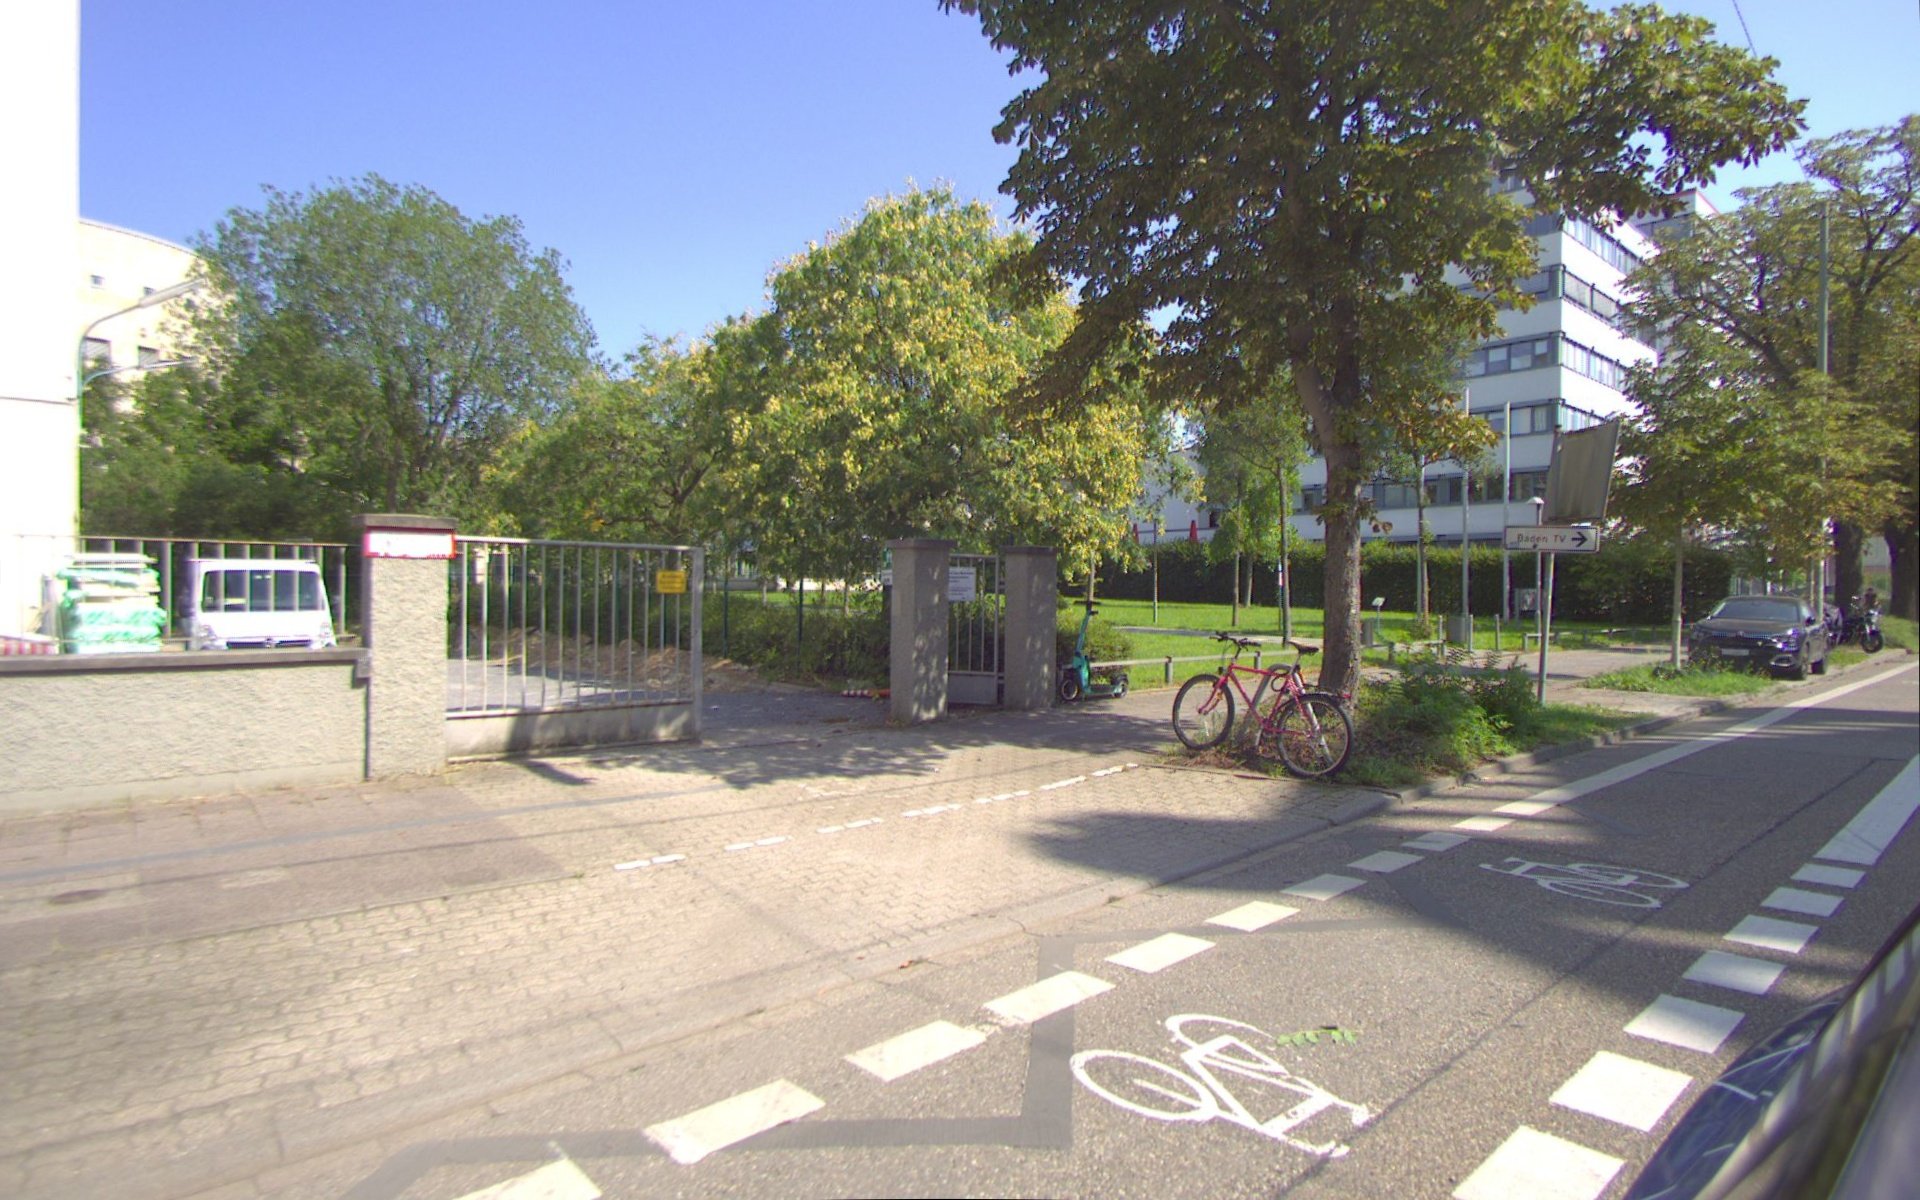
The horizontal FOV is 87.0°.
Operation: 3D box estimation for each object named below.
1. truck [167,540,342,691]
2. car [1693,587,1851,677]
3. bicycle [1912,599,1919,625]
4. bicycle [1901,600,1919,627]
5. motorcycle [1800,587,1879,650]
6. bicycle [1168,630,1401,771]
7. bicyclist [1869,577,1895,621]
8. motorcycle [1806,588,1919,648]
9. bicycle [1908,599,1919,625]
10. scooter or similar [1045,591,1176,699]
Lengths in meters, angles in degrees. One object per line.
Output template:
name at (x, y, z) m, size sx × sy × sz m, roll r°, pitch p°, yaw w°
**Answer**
truck at (-13.100, 0.219, 18.607) m, size 2.257 × 2.355 × 5.519 m, roll 0°, pitch 0°, yaw -39°
car at (16.078, 0.536, 19.947) m, size 4.531 × 1.534 × 1.758 m, roll -1°, pitch 2°, yaw -43°
bicycle at (41.176, 0.530, 42.445) m, size 0.531 × 1.063 × 1.774 m, roll 0°, pitch 1°, yaw -41°
bicycle at (38.837, 0.546, 40.408) m, size 0.531 × 1.063 × 1.774 m, roll 0°, pitch 1°, yaw -41°
motorcycle at (22.522, 0.452, 25.967) m, size 0.843 × 1.535 × 2.435 m, roll 0°, pitch 0°, yaw 24°
bicycle at (2.605, 0.763, 8.306) m, size 0.548 × 0.970 × 1.815 m, roll 0°, pitch 0°, yaw -41°
bicyclist at (43.534, -0.069, 47.803) m, size 1.252 × 2.039 × 0.782 m, roll 0°, pitch 0°, yaw -42°
motorcycle at (23.946, 0.444, 26.870) m, size 0.836 × 1.535 × 2.456 m, roll 0°, pitch 0°, yaw -3°
bicycle at (40.649, 0.533, 42.037) m, size 0.531 × 1.063 × 1.774 m, roll 0°, pitch 1°, yaw -41°
scooter or similar at (1.906, 0.523, 12.663) m, size 1.785 × 1.275 × 0.557 m, roll 0°, pitch 0°, yaw -39°
